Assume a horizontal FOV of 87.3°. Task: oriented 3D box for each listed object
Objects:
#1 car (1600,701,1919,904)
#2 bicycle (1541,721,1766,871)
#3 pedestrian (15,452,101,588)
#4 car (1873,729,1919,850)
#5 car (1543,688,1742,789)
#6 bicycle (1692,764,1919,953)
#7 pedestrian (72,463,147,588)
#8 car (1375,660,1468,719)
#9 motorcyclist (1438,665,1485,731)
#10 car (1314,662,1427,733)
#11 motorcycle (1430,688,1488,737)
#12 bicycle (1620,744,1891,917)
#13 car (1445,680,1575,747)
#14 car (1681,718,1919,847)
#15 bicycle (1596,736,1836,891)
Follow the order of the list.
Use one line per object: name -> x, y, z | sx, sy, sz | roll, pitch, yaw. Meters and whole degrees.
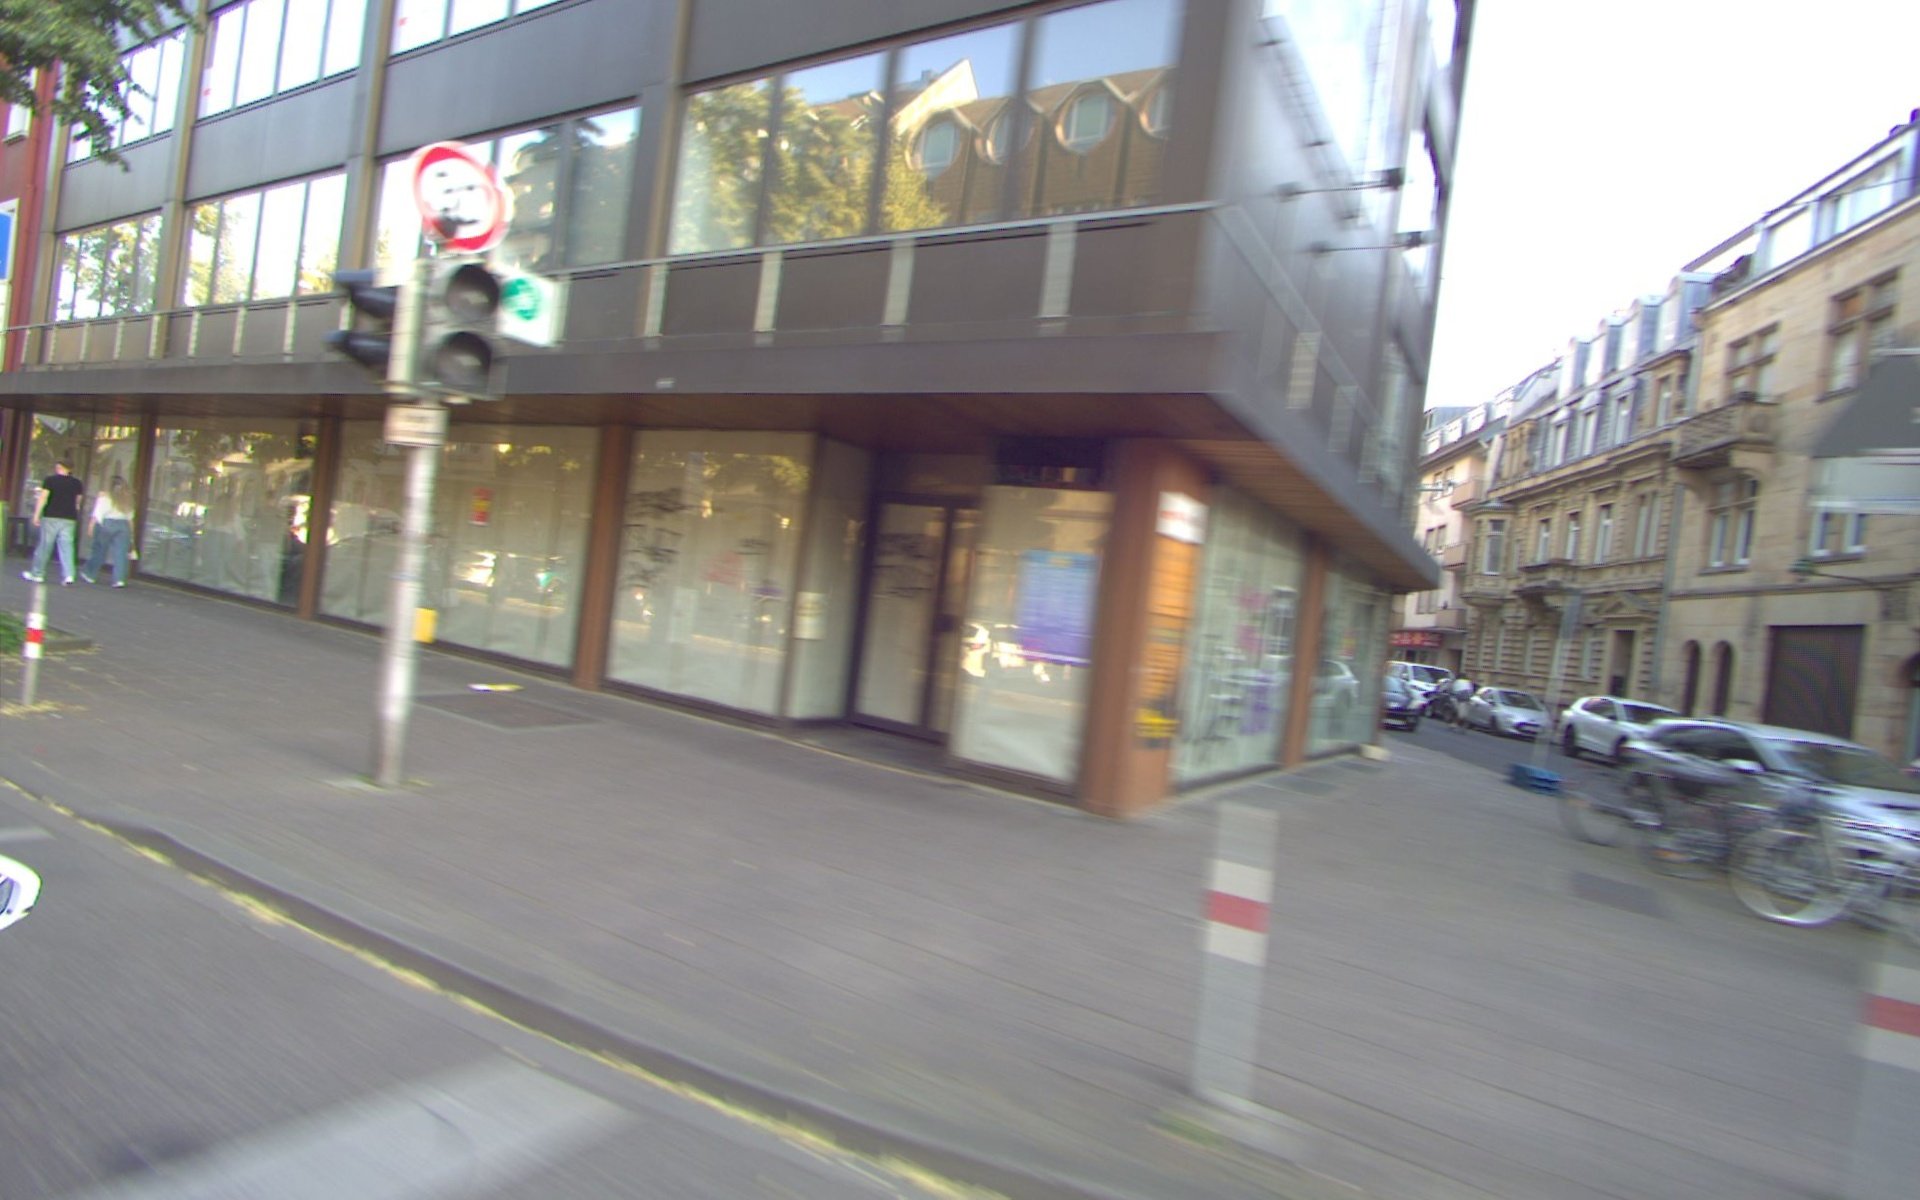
car -> 9.477, 2.175, 11.526 | 1.761, 1.504, 4.546 | 8, -1, 9
bicycle -> 6.857, 1.927, 9.997 | 1.655, 1.118, 0.583 | 9, 1, 1
pedestrian -> -13.340, -1.173, 14.873 | 0.960, 1.893, 0.625 | 7, 3, 32
car -> 14.515, 2.819, 12.715 | 1.942, 1.668, 4.770 | 8, -1, 9
car -> 16.239, 3.228, 24.303 | 1.942, 1.668, 4.770 | 8, -1, 9
bicycle -> 6.572, 1.915, 7.346 | 1.820, 1.045, 0.583 | 9, 0, 6
pedestrian -> -13.150, -1.147, 15.555 | 0.822, 1.833, 0.589 | 7, 3, 32
car -> 18.337, 3.505, 40.194 | 1.942, 1.856, 4.770 | 8, -1, 9
motorcyclist -> 14.448, 2.819, 29.015 | 0.703, 1.743, 1.099 | 8, 0, 9
car -> 11.550, 2.699, 28.634 | 1.761, 1.504, 4.546 | 8, -1, 9
motorcycle -> 14.406, 3.235, 29.103 | 0.703, 1.154, 2.252 | 8, -1, 9
bicycle -> 6.728, 1.933, 8.568 | 1.655, 1.072, 0.583 | 9, 0, 3
car -> 17.362, 3.535, 32.052 | 1.942, 1.480, 4.770 | 8, -1, 9
car -> 15.363, 3.185, 17.975 | 1.942, 1.480, 4.770 | 8, -1, 9
bicycle -> 7.029, 1.978, 9.406 | 1.655, 1.072, 0.583 | 9, 0, 0
